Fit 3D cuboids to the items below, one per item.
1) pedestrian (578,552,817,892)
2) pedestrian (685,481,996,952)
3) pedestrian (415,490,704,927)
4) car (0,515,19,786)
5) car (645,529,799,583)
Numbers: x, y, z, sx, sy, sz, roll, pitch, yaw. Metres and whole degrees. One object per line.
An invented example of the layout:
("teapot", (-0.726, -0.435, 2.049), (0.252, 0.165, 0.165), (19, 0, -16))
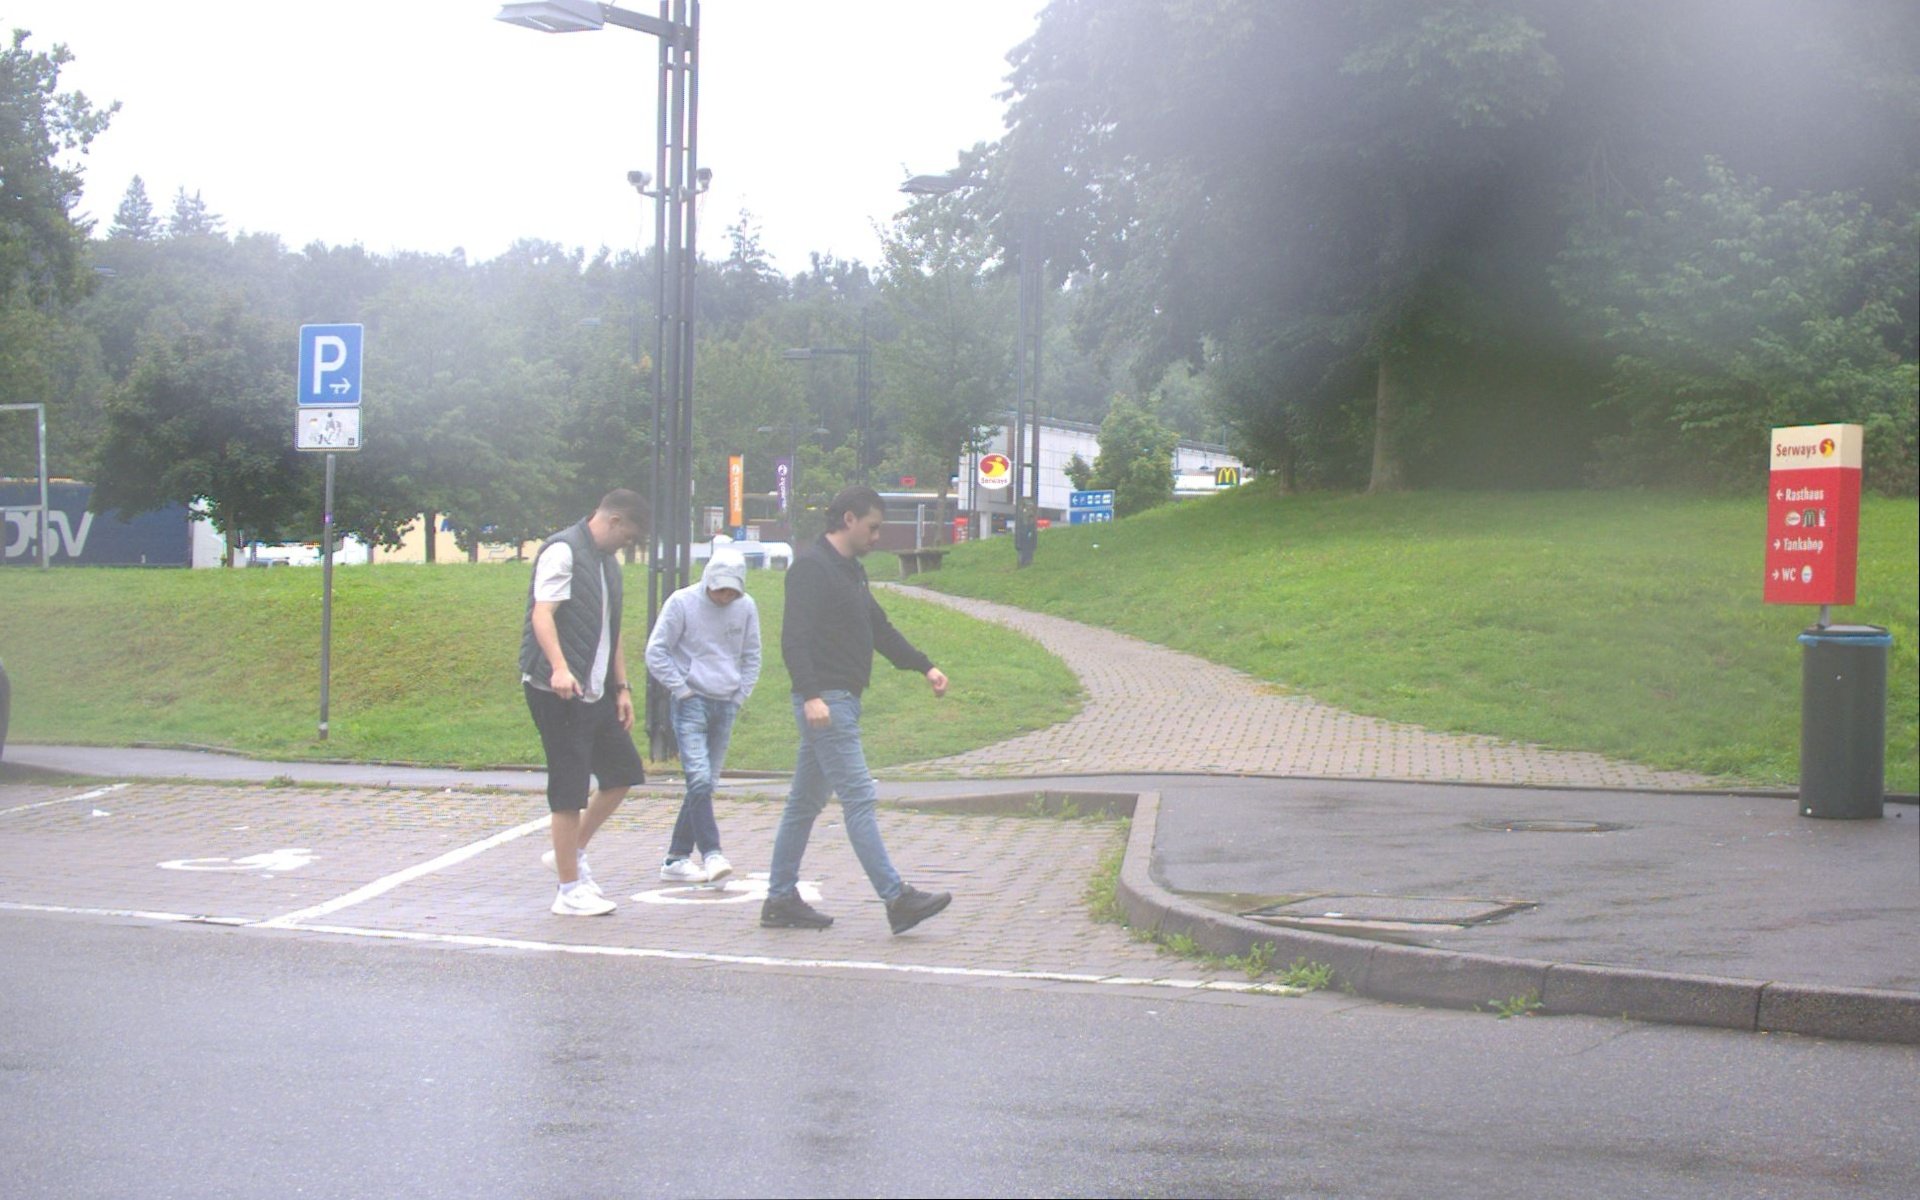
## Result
("pedestrian", (-1.230, 0.550, 16.138), (0.890, 1.544, 0.659), (0, 1, 29))
("pedestrian", (-0.485, 0.449, 14.133), (1.000, 1.858, 0.798), (0, 1, 28))
("pedestrian", (-1.745, 0.449, 15.041), (0.974, 1.842, 0.772), (0, 1, 28))
("car", (-7.765, 0.377, 21.439), (1.885, 1.821, 4.411), (0, 1, 11))
("car", (-9.249, -1.726, 133.767), (5.429, 2.007, 2.453), (1, 1, 20))
